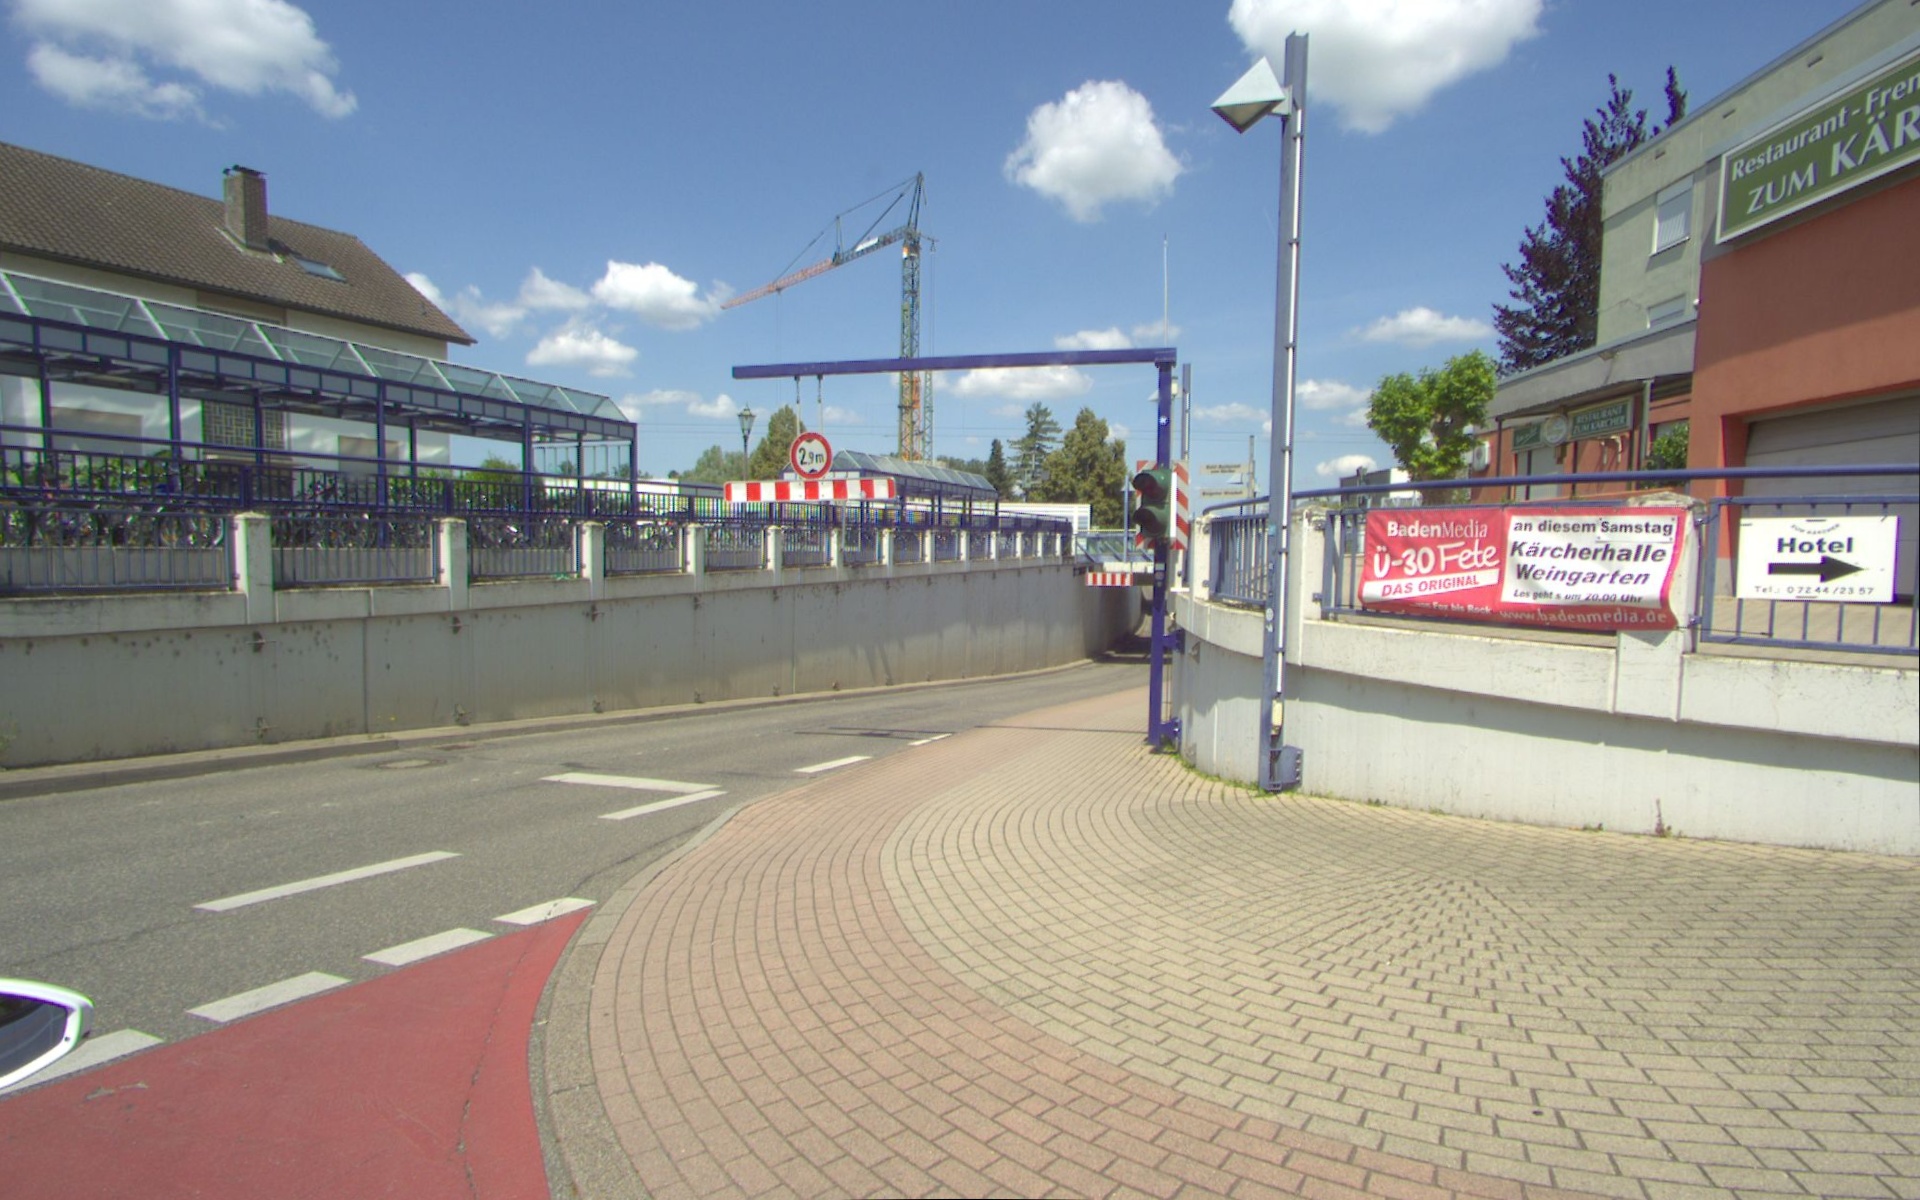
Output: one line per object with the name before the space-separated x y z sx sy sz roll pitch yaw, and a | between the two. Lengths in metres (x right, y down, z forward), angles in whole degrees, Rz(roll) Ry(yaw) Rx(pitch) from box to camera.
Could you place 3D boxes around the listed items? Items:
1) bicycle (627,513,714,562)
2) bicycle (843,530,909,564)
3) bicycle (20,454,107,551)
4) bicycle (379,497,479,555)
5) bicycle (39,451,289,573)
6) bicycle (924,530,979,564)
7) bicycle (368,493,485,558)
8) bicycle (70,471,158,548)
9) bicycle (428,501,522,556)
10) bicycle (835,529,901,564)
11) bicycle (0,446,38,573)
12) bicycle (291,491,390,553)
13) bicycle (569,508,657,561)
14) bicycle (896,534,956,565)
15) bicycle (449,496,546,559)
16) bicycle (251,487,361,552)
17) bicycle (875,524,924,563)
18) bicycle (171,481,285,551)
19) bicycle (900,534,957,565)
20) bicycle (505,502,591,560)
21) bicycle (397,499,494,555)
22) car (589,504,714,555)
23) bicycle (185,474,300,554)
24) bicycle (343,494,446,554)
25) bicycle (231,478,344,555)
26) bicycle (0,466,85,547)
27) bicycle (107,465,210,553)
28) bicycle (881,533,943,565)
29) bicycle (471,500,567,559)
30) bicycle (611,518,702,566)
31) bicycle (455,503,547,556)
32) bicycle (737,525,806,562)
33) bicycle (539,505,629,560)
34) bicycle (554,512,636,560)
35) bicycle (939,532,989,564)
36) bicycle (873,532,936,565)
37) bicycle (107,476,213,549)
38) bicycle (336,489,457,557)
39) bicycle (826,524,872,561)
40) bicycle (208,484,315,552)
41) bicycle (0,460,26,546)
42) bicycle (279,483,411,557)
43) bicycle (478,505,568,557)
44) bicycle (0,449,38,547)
bicycle | -6.313 -1.363 21.807 2.006 1.008 0.543 3 3 27
bicycle | -2.612 -1.649 31.066 1.990 1.008 0.510 2 3 20
bicycle | -10.234 -1.077 11.410 2.076 1.008 0.433 3 3 40
bicycle | -9.694 -1.350 18.261 1.932 1.008 0.519 2 3 24
bicycle | -8.213 -0.861 10.474 0.385 1.141 2.115 2 2 22
bicycle | -0.310 -1.921 36.263 1.889 1.174 0.510 2 3 21
bicycle | -8.762 -1.225 16.412 2.152 1.008 0.532 2 3 26
bicycle | -11.740 -1.238 13.874 1.937 1.008 0.372 3 3 33
bicycle | -9.419 -1.386 19.426 1.932 1.008 0.519 2 3 24
bicycle | -2.813 -1.632 30.481 1.990 1.008 0.436 2 3 20
bicycle | -9.088 -0.804 8.338 0.327 1.141 2.115 2 2 22
bicycle | -10.525 -1.324 17.007 1.771 1.008 0.519 2 3 24
bicycle | -6.933 -1.311 19.968 2.009 1.008 0.542 3 3 33
bicycle | -1.150 -1.722 34.033 1.990 1.008 0.510 2 3 20
bicycle | -7.923 -1.230 17.102 2.159 1.008 0.576 3 3 38
bicycle | -10.683 -1.303 16.339 1.932 1.008 0.519 2 3 24
bicycle | -1.927 -1.793 31.715 1.577 1.174 0.427 3 3 32
bicycle | -11.148 -1.274 15.239 1.932 1.008 0.473 2 3 24
bicycle | -1.097 -1.744 34.663 1.889 1.008 0.510 2 3 20
bicycle | -7.666 -1.278 18.590 2.011 1.008 0.514 3 3 36
bicycle | -9.702 -1.372 18.881 1.932 1.008 0.519 2 3 24
car | -11.176 -2.542 36.291 3.929 1.701 1.995 2 3 19
bicycle | -9.717 -1.143 13.532 2.247 1.008 0.434 3 3 32
bicycle | -9.919 -1.329 17.556 1.932 1.008 0.519 2 3 24
bicycle | -9.455 -1.155 14.054 2.247 1.008 0.434 3 3 32
bicycle | -12.216 -1.228 13.291 1.937 1.008 0.372 3 3 33
bicycle | -9.962 -1.108 12.415 2.073 1.008 0.434 3 3 35
bicycle | -1.587 -1.699 33.124 1.990 1.008 0.510 2 3 20
bicycle | -7.915 -1.260 17.932 2.008 1.008 0.514 3 3 31
bicycle | -6.650 -1.274 21.900 2.125 1.008 0.436 2 3 23
bicycle | -9.157 -1.399 19.953 1.932 1.008 0.519 2 3 24
bicycle | -5.482 -1.646 29.090 1.990 1.008 0.510 2 3 20
bicycle | -7.225 -1.290 19.201 2.009 1.008 0.514 3 3 33
bicycle | -8.073 -1.417 22.101 2.007 1.008 0.543 3 3 30
bicycle | 0.151 -1.974 38.006 1.791 1.174 0.510 2 3 21
bicycle | -1.804 -1.684 32.568 1.990 1.008 0.510 2 3 20
bicycle | -11.612 -1.259 14.520 1.934 1.008 0.426 3 3 27
bicycle | -8.838 -1.200 15.688 2.152 1.008 0.532 2 3 26
bicycle | -3.639 -1.870 32.668 1.577 1.174 0.384 3 3 32
bicycle | -10.944 -1.285 15.671 1.932 1.008 0.414 2 3 24
bicycle | -12.175 -1.196 12.435 1.937 1.008 0.372 3 3 33
bicycle | -9.058 -1.170 14.715 2.244 1.008 0.532 2 3 26
bicycle | -8.937 -1.412 20.459 1.932 1.008 0.519 2 3 24
bicycle | -10.904 -1.111 10.980 2.040 1.008 0.332 2 3 23
